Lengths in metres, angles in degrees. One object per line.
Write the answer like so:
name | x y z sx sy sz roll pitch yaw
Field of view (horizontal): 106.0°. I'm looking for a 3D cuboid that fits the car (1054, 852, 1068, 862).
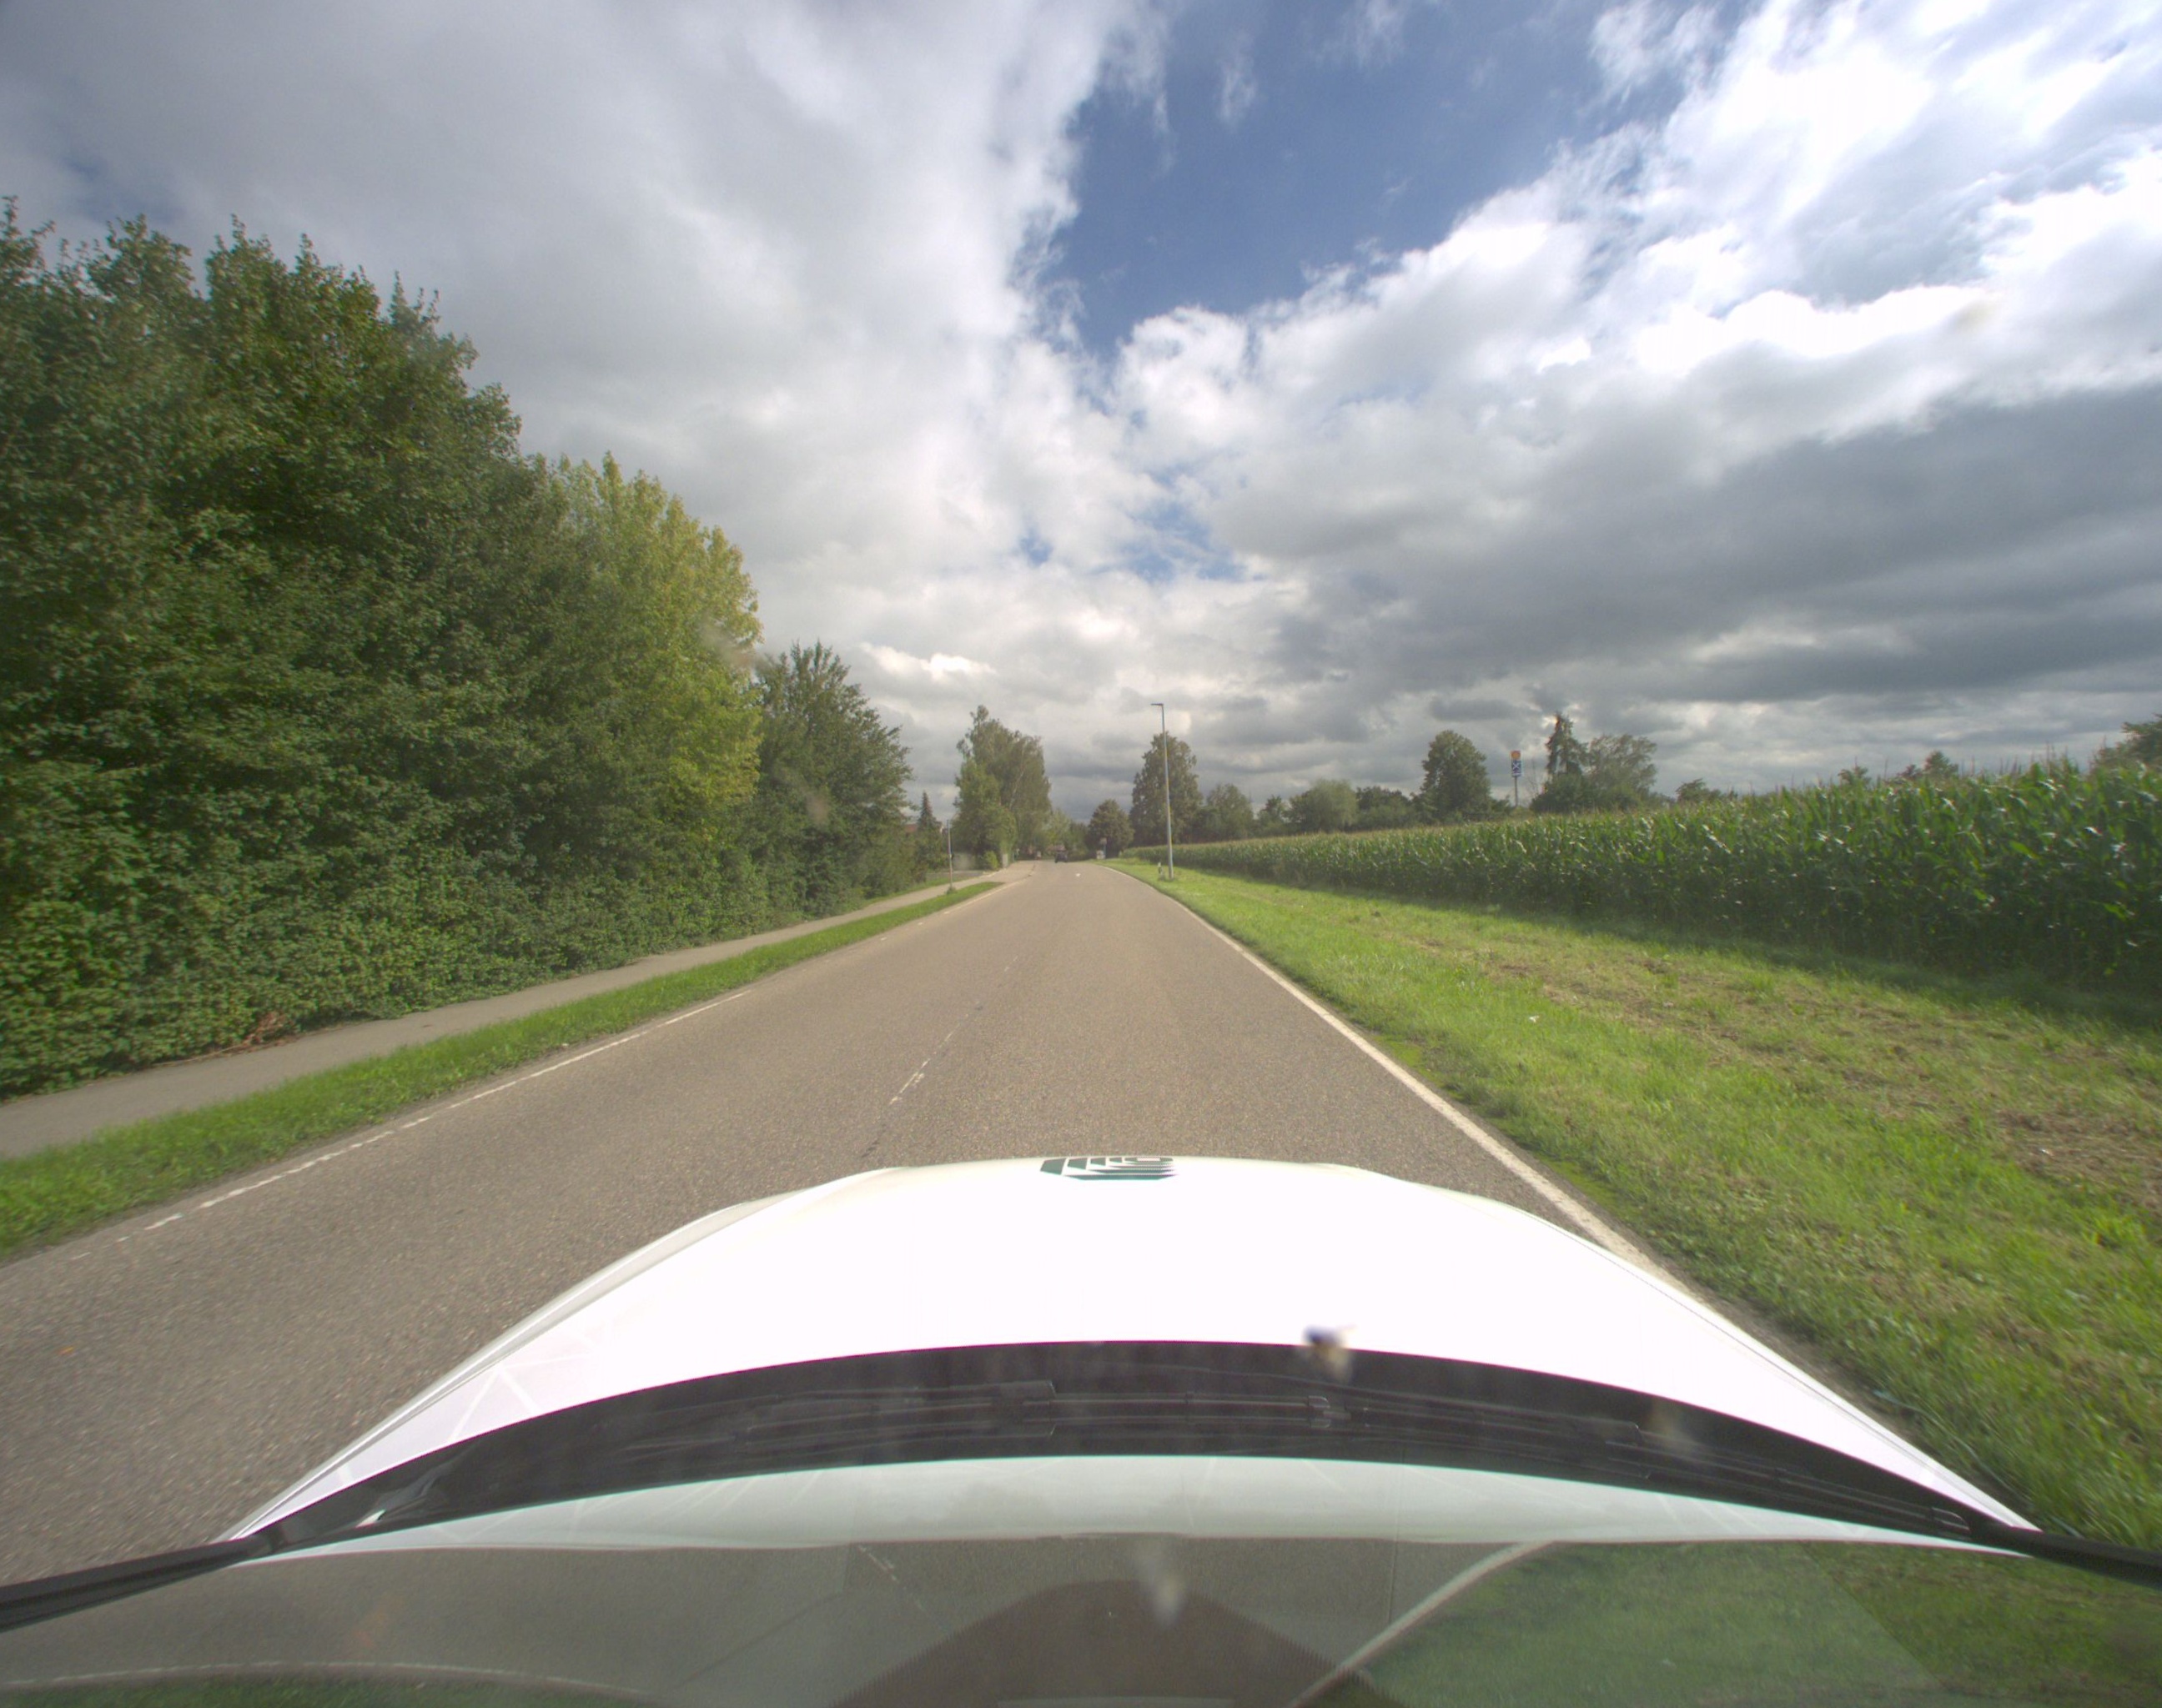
car | -3.253 0.457 130.617 1.990 1.585 3.993 0 -1 -5
